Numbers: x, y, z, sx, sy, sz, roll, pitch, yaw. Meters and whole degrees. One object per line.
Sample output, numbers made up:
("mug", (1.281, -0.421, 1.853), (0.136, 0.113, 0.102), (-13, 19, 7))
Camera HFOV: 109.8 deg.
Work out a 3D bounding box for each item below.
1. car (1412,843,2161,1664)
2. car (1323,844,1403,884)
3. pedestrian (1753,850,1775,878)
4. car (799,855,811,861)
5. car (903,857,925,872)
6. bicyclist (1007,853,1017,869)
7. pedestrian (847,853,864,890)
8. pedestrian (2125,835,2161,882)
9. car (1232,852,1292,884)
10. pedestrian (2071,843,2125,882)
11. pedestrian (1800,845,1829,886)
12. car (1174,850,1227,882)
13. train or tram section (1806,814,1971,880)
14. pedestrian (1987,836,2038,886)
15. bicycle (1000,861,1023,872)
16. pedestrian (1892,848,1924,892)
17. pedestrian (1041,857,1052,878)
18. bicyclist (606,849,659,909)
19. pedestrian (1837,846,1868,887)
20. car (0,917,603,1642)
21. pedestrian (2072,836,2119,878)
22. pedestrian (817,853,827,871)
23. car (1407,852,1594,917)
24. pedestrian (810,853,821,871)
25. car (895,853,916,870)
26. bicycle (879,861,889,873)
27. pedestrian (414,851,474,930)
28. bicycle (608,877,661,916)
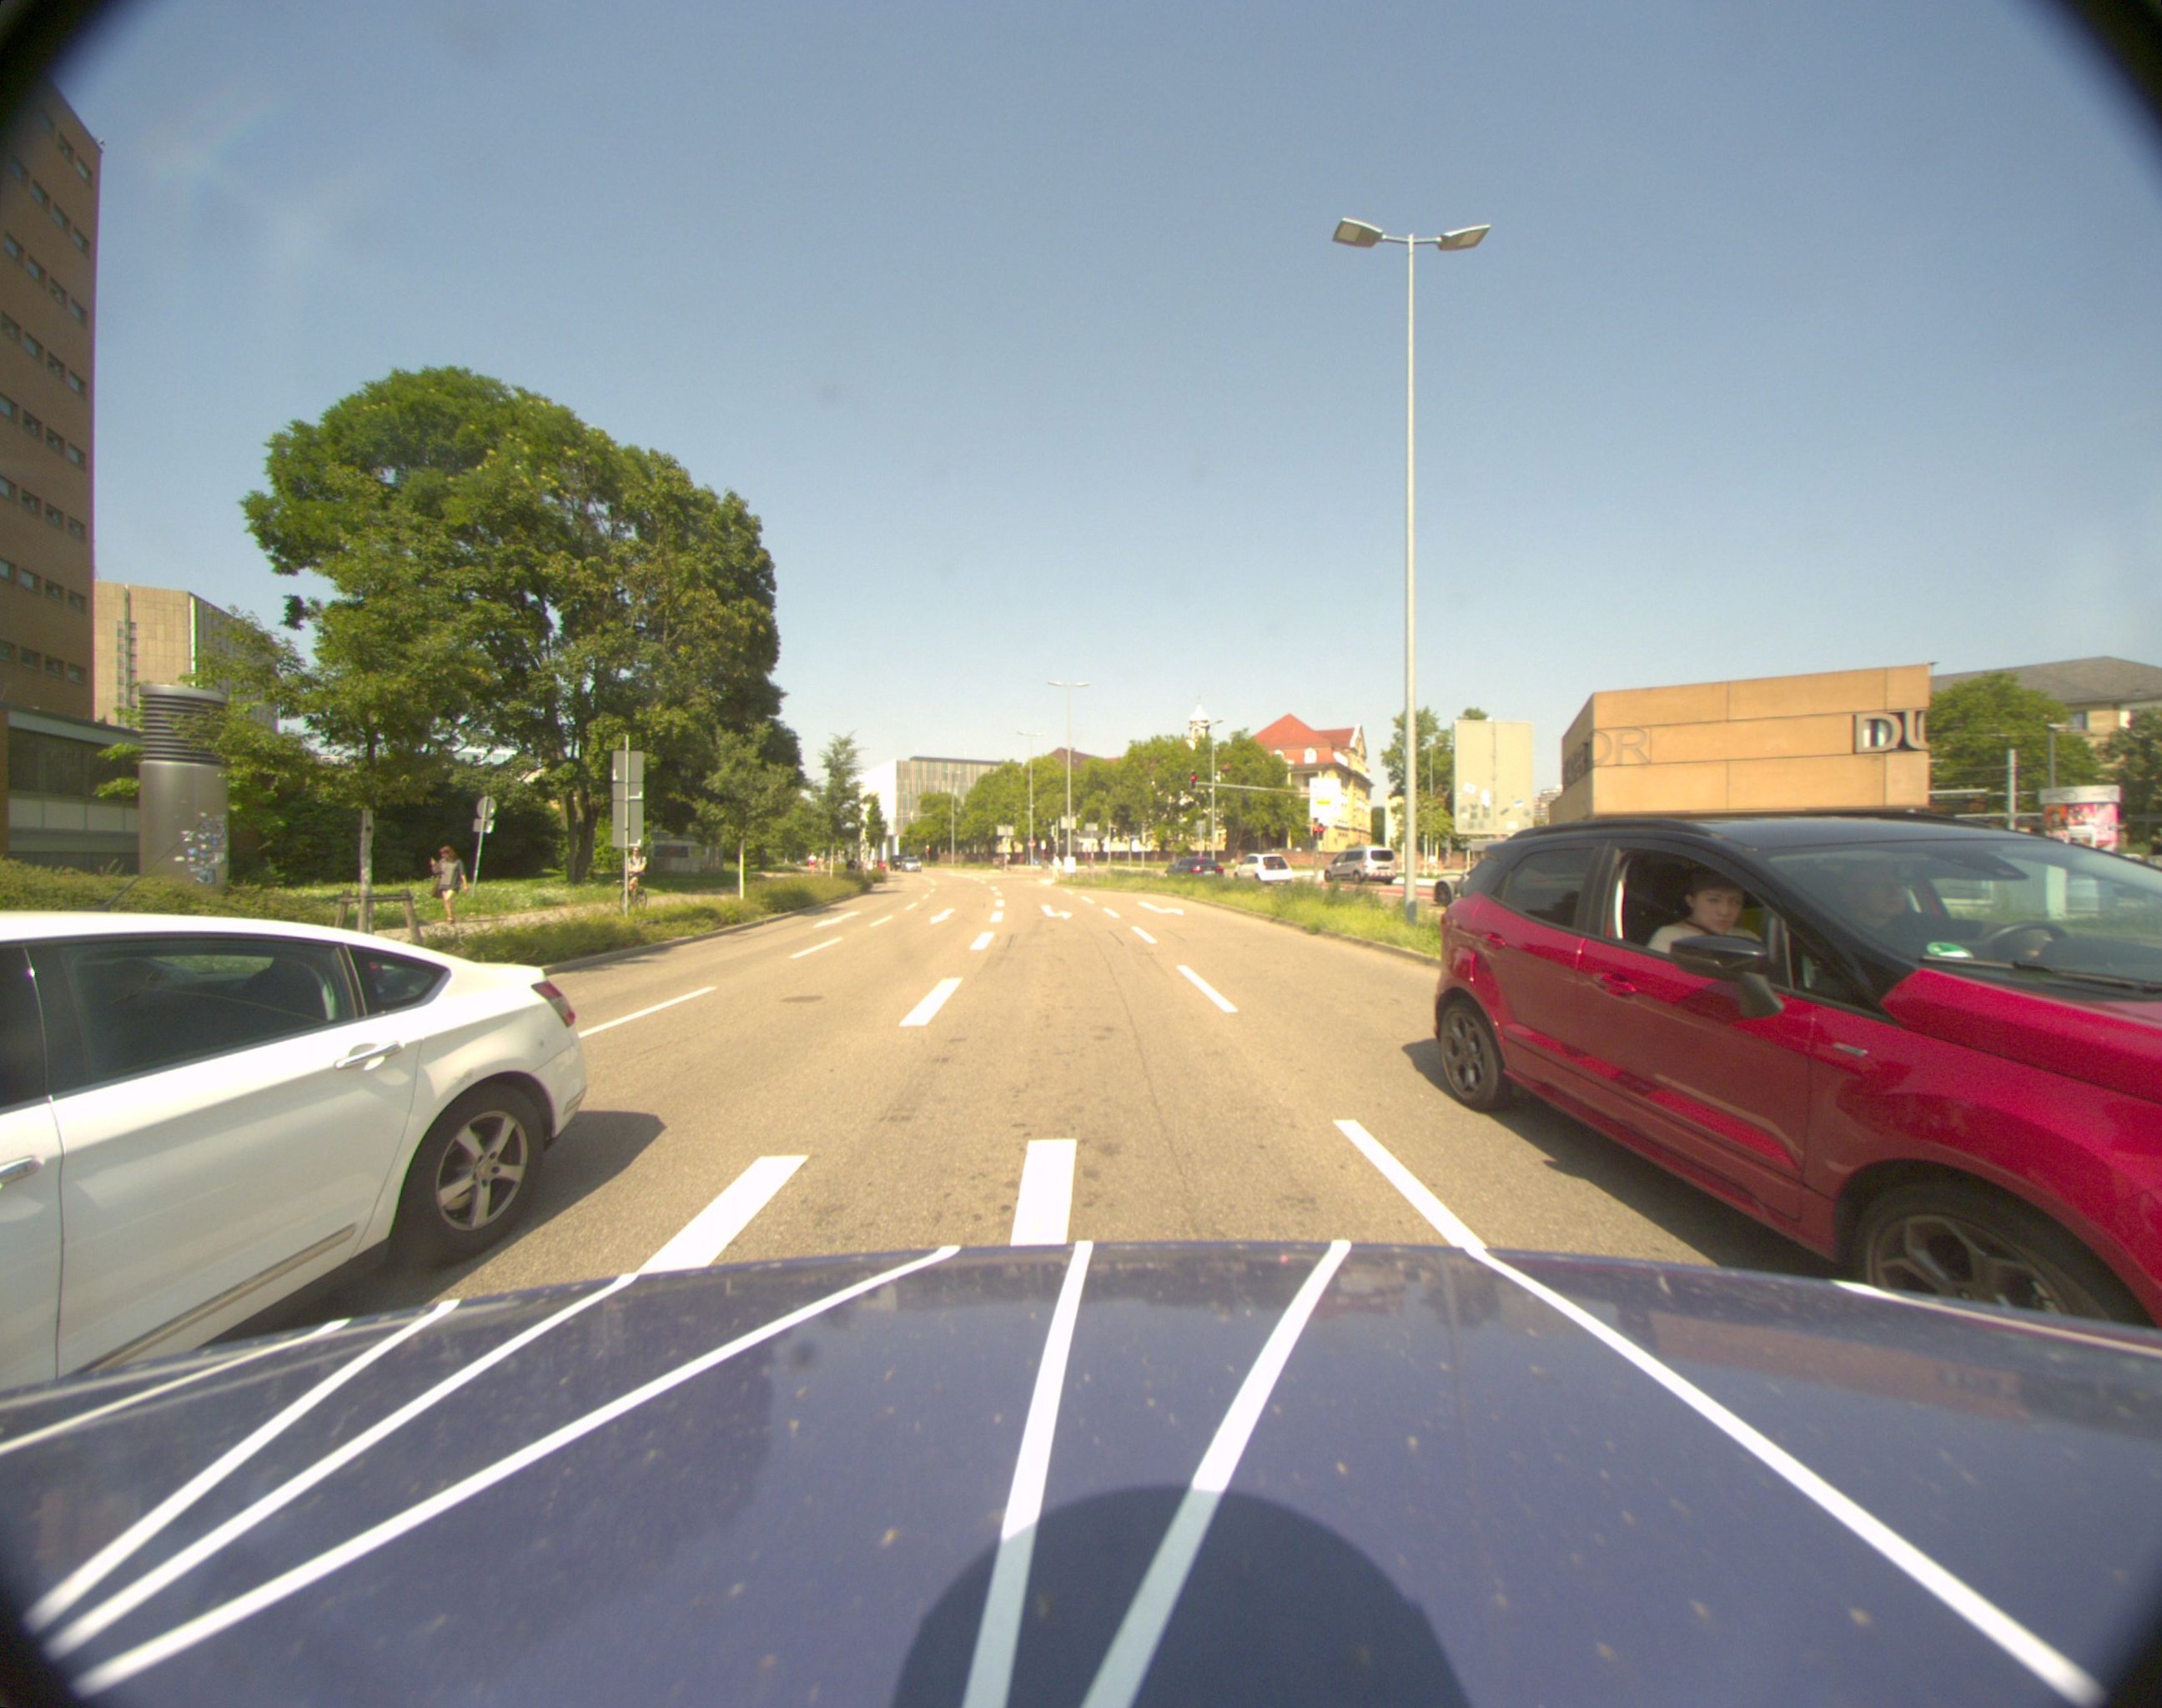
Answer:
("car", (2.952, 0.779, 2.870), (1.694, 1.577, 3.844), (-2, 0, 0))
("car", (13.680, 0.440, 37.114), (1.869, 1.843, 3.911), (0, 1, -12))
("pedestrian", (26.815, 0.388, 29.849), (0.538, 1.093, 0.543), (0, 1, 32))
("car", (-71.957, 0.954, 198.012), (1.877, 1.521, 4.522), (0, 0, -31))
("car", (-18.278, 1.163, 83.094), (1.661, 1.521, 4.525), (-2, 0, -22))
("bicyclist", (-6.945, 0.697, 76.305), (1.017, 1.542, 0.718), (0, 1, -6))
("pedestrian", (-11.917, 0.917, 40.203), (0.823, 1.892, 0.630), (-1, 1, -12))
("pedestrian", (42.174, 0.182, 30.081), (0.804, 1.812, 0.534), (0, 1, 28))
("car", (8.771, 0.654, 37.014), (1.527, 1.470, 3.474), (0, 0, -11))
("pedestrian", (44.896, 0.350, 33.562), (1.076, 1.686, 1.066), (0, 1, 28))
("pedestrian", (26.690, 0.418, 27.657), (0.539, 1.488, 0.541), (0, 1, -1))
("car", (5.639, 0.549, 36.211), (1.526, 1.417, 3.474), (0, 0, -9))
("train or tram section", (48.025, -0.397, 45.857), (2.698, 3.418, 13.446), (0, 0, 28))
("pedestrian", (28.052, 0.195, 22.887), (0.771, 1.488, 0.606), (0, 1, -1))
("bicycle", (-6.968, 1.268, 76.274), (2.267, 1.070, 0.659), (0, 0, -6))
("pedestrian", (28.822, 0.552, 26.486), (0.539, 1.488, 0.541), (0, 1, -1))
("pedestrian", (-2.181, 0.846, 48.177), (0.605, 1.291, 0.617), (-2, 1, -4))
("bicyclist", (-12.363, 0.674, 20.985), (0.904, 1.596, 0.924), (0, 1, -1))
("pedestrian", (27.889, 0.446, 27.467), (0.539, 1.488, 0.541), (0, 1, -1))
("car", (-3.276, 1.025, 1.366), (1.773, 1.420, 4.610), (0, 0, 2))
("pedestrian", (44.854, 0.138, 33.597), (0.927, 1.812, 0.939), (0, 1, 28))
("pedestrian", (-19.612, 0.612, 57.439), (0.618, 1.291, 0.436), (-3, 1, -27))
("car", (11.311, 0.732, 20.966), (2.000, 1.576, 4.711), (0, 0, -10))
("pedestrian", (-19.982, 0.599, 57.215), (0.635, 1.291, 0.486), (-3, 1, -25))
("car", (-20.787, 0.842, 89.890), (1.893, 1.908, 4.525), (-2, 0, -20))
("bicycle", (-20.802, 1.381, 80.154), (0.594, 1.162, 2.235), (0, 0, -3))
("pedestrian", (-14.035, 0.779, 16.765), (0.672, 1.689, 0.805), (0, 1, -7))
("bicycle", (-12.288, 1.146, 20.966), (0.357, 0.974, 1.782), (0, 0, 1))
